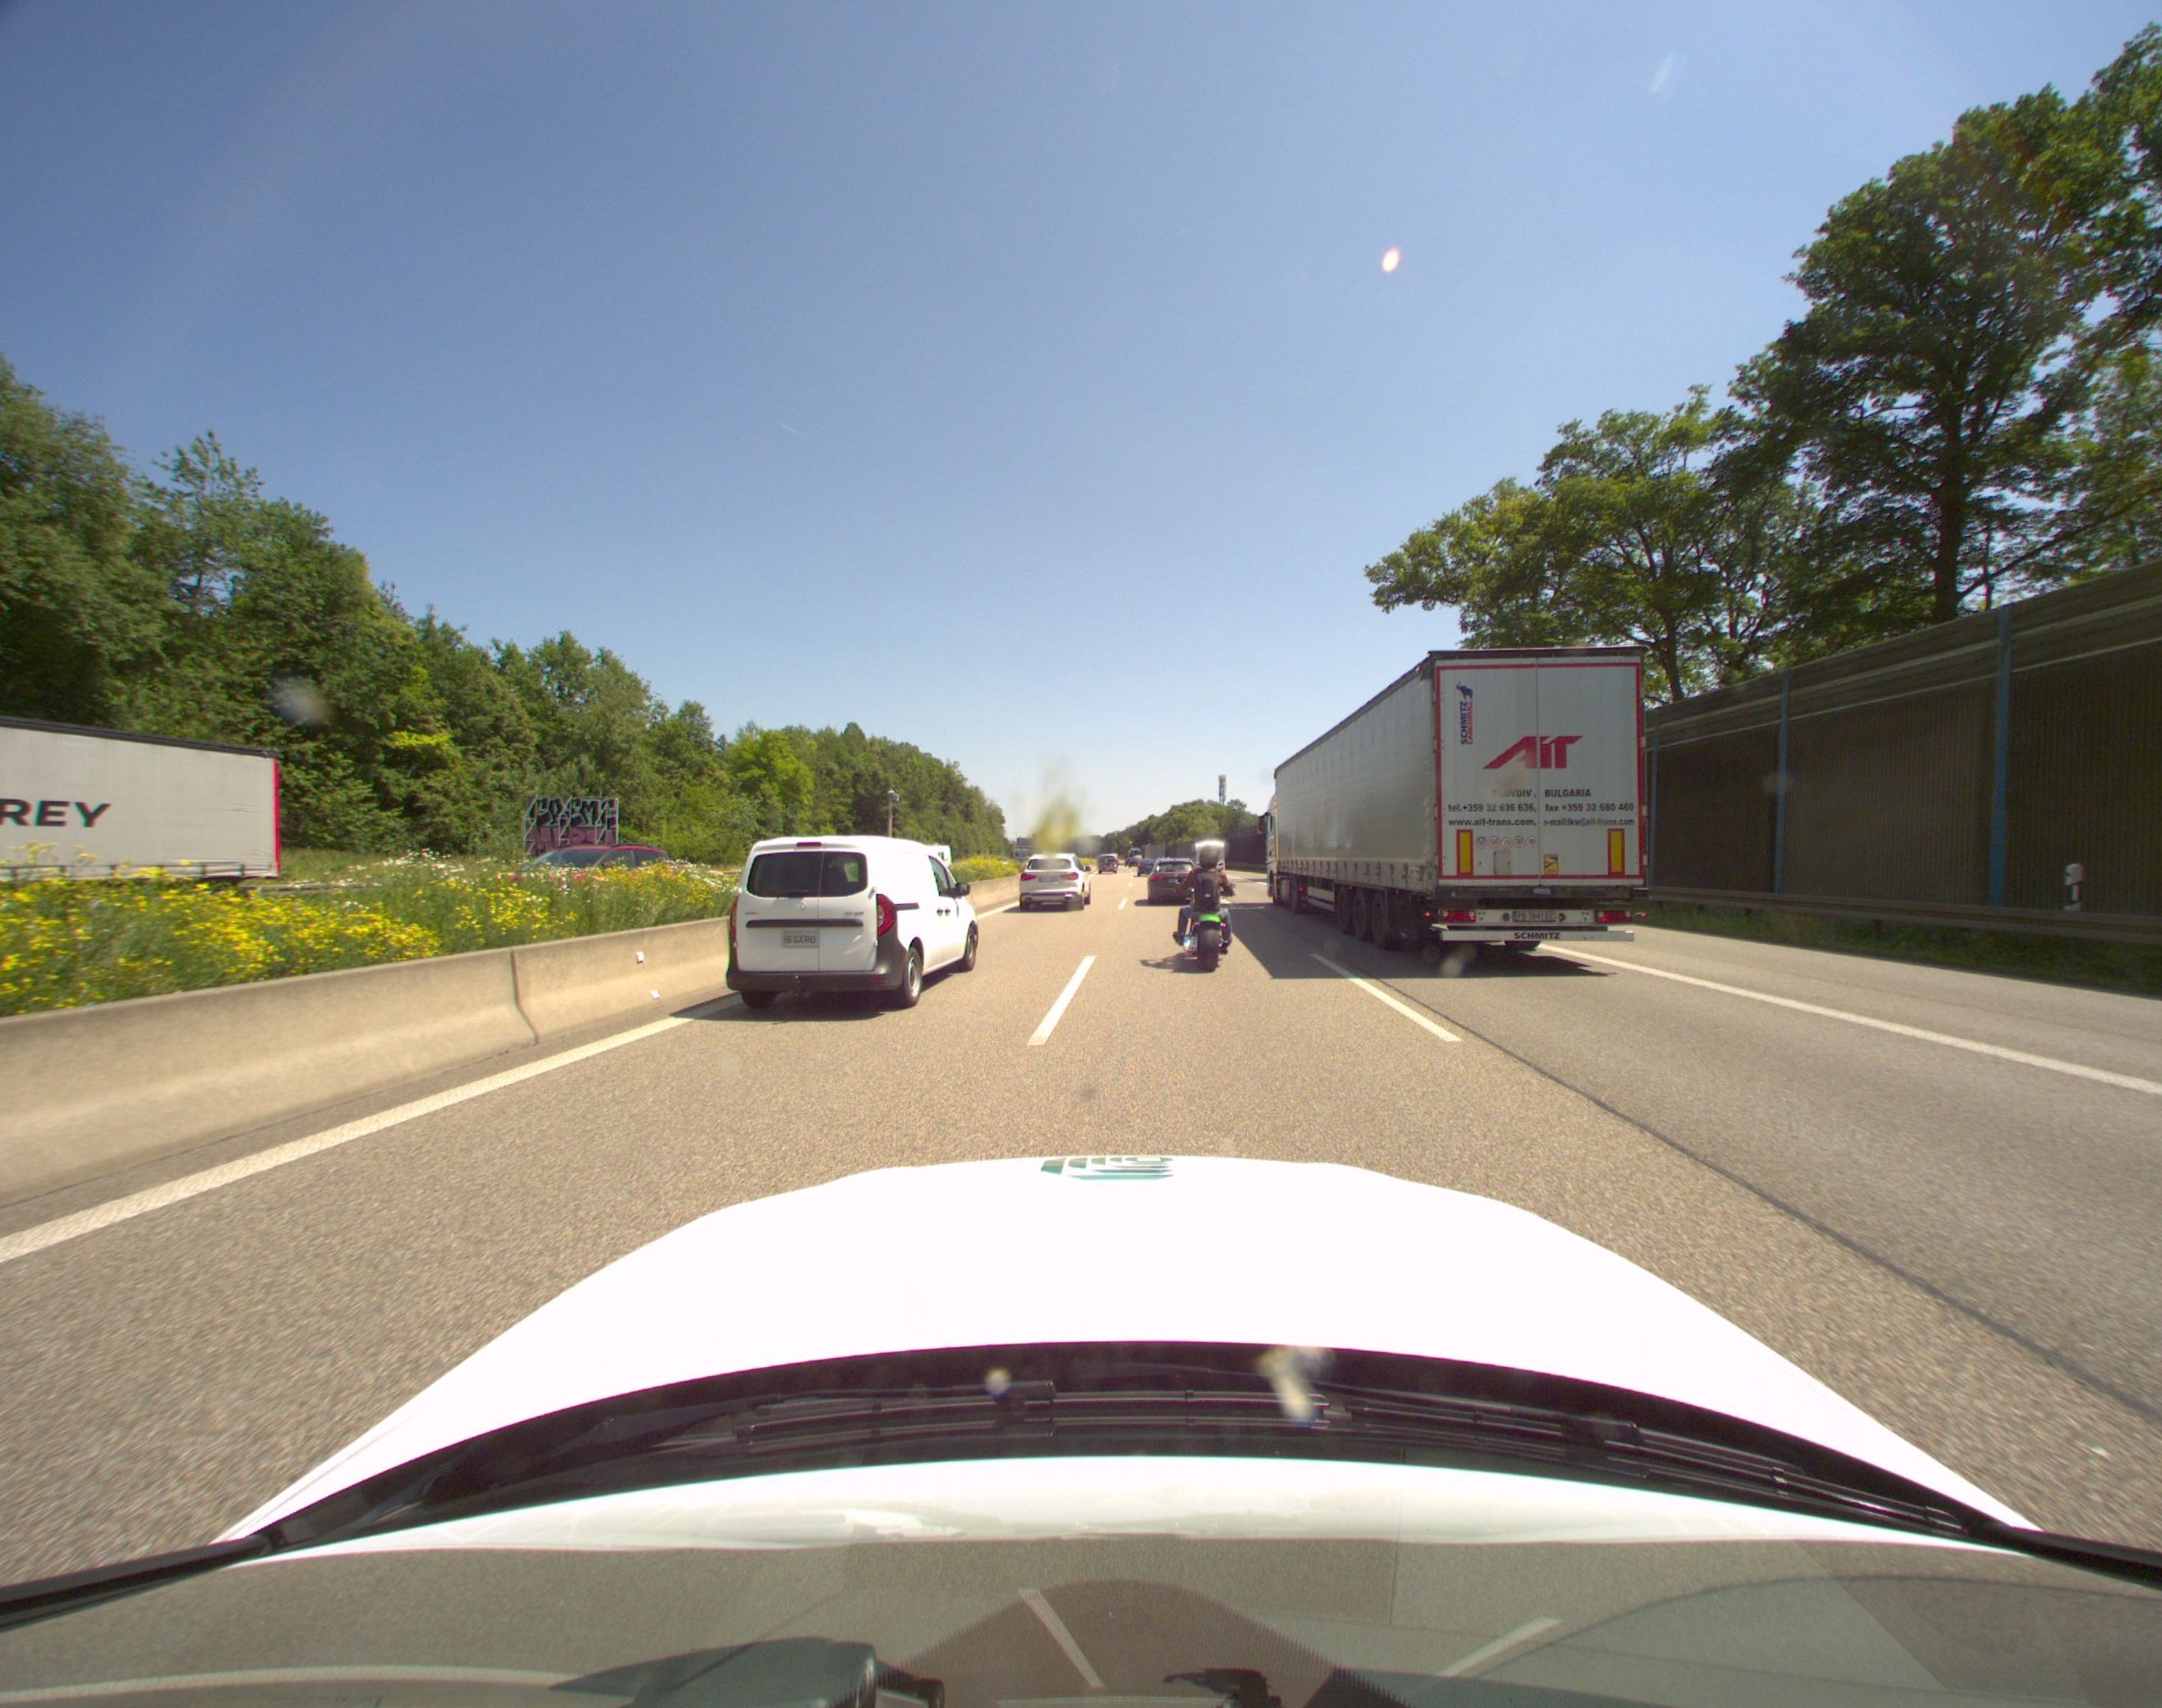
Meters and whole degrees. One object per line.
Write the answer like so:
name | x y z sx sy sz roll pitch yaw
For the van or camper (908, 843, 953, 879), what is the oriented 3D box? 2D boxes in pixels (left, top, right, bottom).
van or camper | -12.102 0.549 66.139 2.076 2.701 6.159 -1 0 4

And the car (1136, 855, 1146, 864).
car | 14.217 1.296 193.580 2.100 1.876 4.001 -1 -1 1

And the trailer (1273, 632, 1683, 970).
trailer | 6.385 -0.583 16.728 2.871 4.038 13.815 -1 0 5

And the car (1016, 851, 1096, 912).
car | -0.657 0.789 25.388 1.855 1.694 4.963 -1 -1 5

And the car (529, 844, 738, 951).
car | -9.341 0.869 17.467 1.984 2.014 4.006 -1 -1 5

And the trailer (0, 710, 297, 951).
trailer | -20.549 -0.437 12.778 2.912 4.232 13.081 -1 -1 5

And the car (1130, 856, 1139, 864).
car | 13.149 1.439 198.914 2.100 1.876 4.001 -1 -1 2

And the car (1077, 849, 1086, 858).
car | 0.092 -0.123 207.394 1.988 2.014 3.997 -1 0 -2

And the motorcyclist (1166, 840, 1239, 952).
motorcyclist | 1.783 0.580 11.731 0.893 1.475 1.878 -1 -2 12

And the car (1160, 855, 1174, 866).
car | 13.195 1.058 124.507 1.984 1.574 4.004 -1 -1 4

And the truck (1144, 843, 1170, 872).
truck | 13.351 0.664 143.834 3.790 4.960 8.950 -1 -1 1

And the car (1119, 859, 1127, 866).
car | 9.614 1.916 186.530 1.825 1.496 3.746 -1 -1 3

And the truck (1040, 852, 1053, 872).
truck | -9.556 2.375 226.688 3.470 5.277 10.012 0 -2 -1

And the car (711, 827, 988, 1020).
car | -2.471 0.685 10.056 1.757 1.813 4.679 -1 -1 4

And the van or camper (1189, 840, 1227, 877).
van or camper | 10.335 0.413 66.743 2.672 2.813 6.812 -1 -1 5

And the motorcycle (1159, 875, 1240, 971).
motorcycle | 1.765 0.905 11.703 0.958 1.148 2.821 0 0 12

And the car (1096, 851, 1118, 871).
car | 2.566 0.720 78.330 1.890 1.874 4.417 -1 -1 4

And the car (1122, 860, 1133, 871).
car | 9.369 2.306 164.085 1.904 2.014 3.691 -1 -1 1

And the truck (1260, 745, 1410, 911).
truck | 7.070 -0.639 23.567 2.872 4.146 5.994 -1 0 5

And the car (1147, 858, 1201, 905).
car | 3.063 0.890 26.946 1.654 1.453 3.875 -1 -1 6

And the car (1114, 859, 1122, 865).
car | 9.917 2.162 217.731 1.826 1.496 3.743 -1 -1 1

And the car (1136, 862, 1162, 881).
car | 5.433 1.378 65.107 1.984 1.430 3.852 -1 -1 5

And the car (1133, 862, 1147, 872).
car | 9.706 2.175 134.035 1.986 1.640 4.001 -1 -1 1
